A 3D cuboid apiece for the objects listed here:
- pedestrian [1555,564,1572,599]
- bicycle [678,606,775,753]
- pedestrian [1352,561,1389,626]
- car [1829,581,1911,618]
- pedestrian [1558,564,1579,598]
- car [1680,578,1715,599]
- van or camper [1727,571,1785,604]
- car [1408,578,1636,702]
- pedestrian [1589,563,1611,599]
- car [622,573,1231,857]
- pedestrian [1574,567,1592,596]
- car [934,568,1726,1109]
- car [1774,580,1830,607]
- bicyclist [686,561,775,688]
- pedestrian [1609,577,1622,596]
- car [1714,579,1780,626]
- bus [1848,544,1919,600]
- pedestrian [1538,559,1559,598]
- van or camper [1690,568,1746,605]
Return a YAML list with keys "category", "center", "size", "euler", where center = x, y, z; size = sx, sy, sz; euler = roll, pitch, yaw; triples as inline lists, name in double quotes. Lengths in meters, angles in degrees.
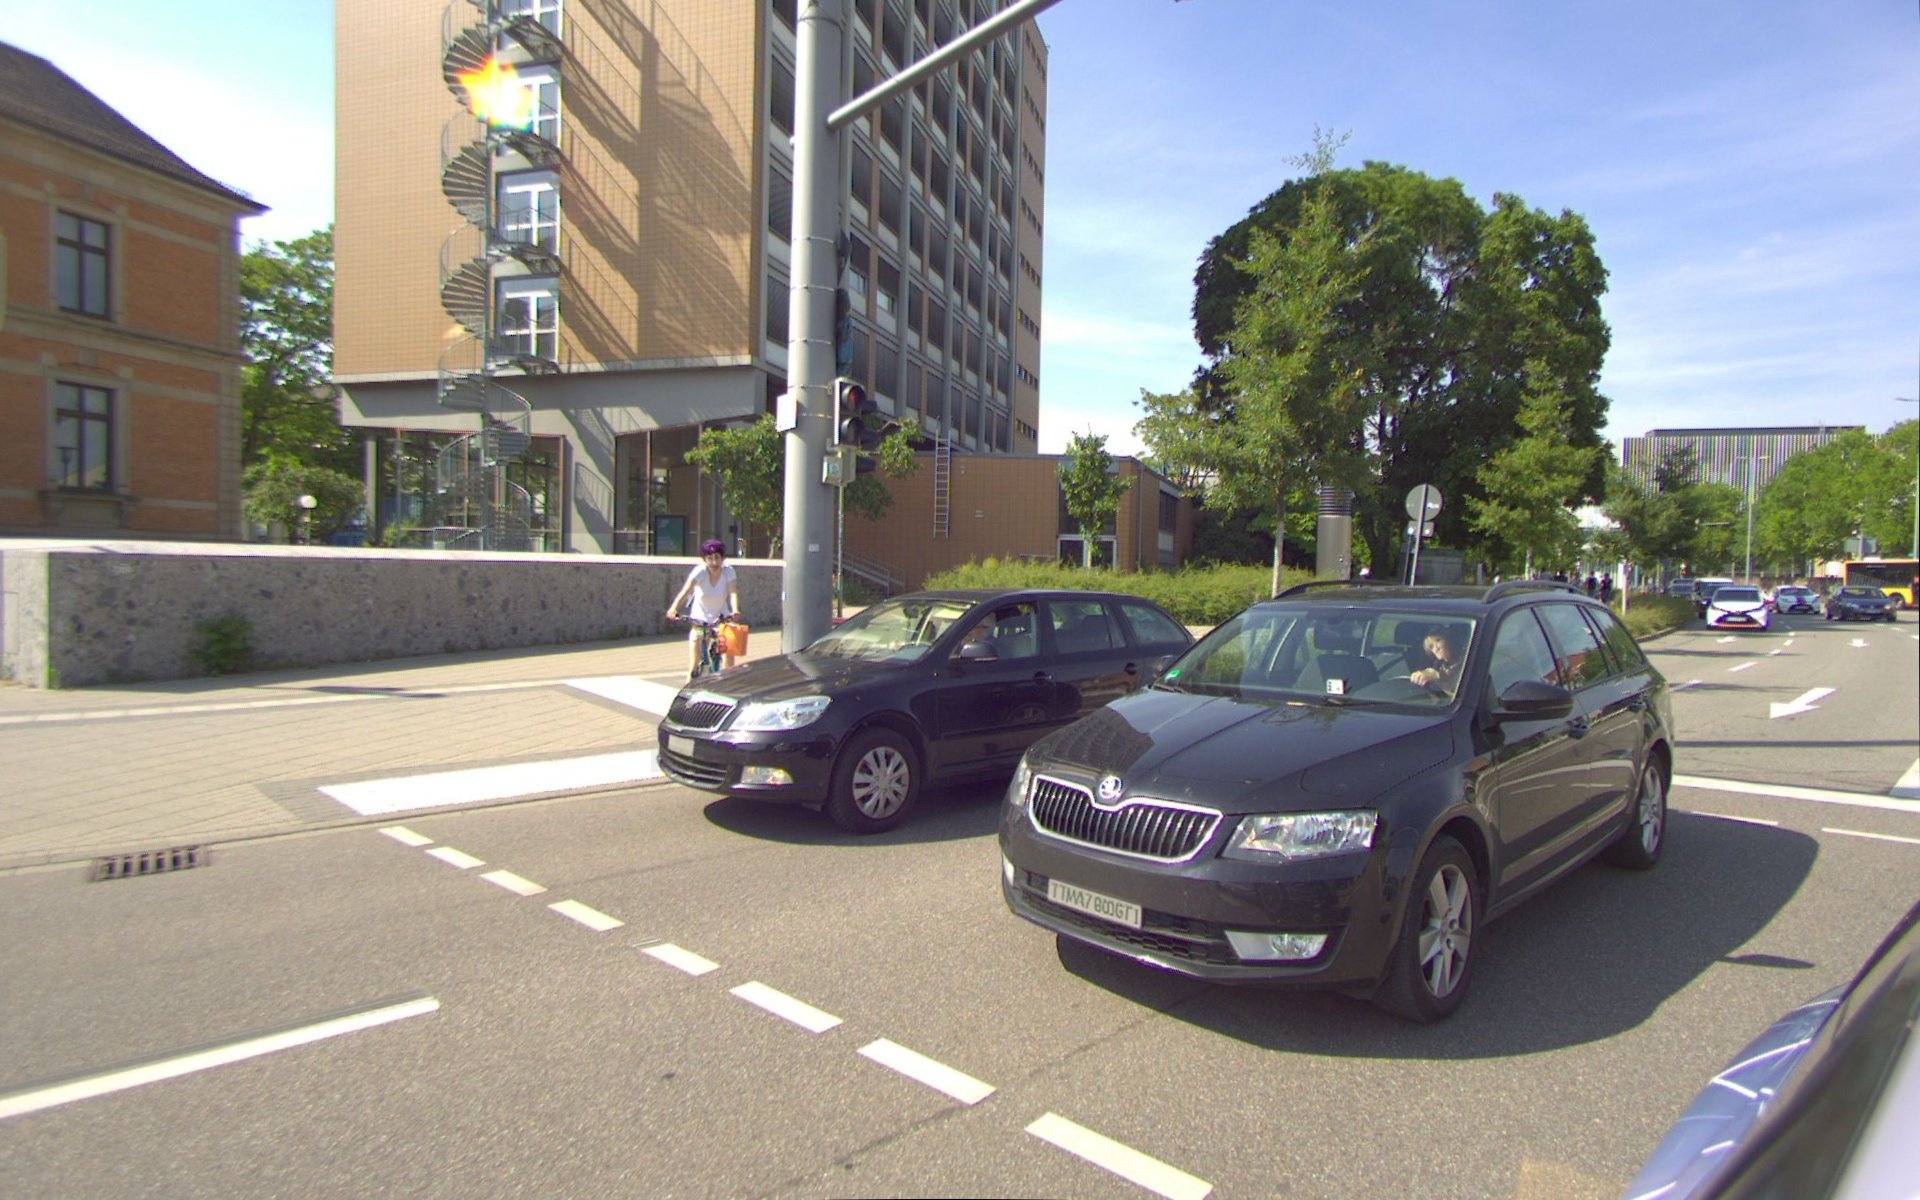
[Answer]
- category: "pedestrian"
  center: [31.070, -0.947, 52.090]
  size: [0.637, 1.785, 0.471]
  euler: [3, 3, 26]
- category: "bicycle"
  center: [-2.043, 0.646, 9.050]
  size: [0.702, 1.027, 1.923]
  euler: [1, 4, -9]
- category: "pedestrian"
  center: [10.895, -0.179, 26.868]
  size: [0.719, 1.684, 0.592]
  euler: [-1, 4, -43]
- category: "car"
  center: [38.018, -0.060, 42.382]
  size: [1.637, 1.442, 4.079]
  euler: [0, 1, 29]
- category: "pedestrian"
  center: [29.573, -0.934, 49.194]
  size: [0.719, 1.646, 0.643]
  euler: [-1, 4, -43]
- category: "car"
  center: [48.178, -0.753, 66.158]
  size: [1.479, 1.310, 3.448]
  euler: [2, 2, 31]
- category: "van or camper"
  center: [48.995, -0.820, 62.388]
  size: [1.903, 1.911, 4.876]
  euler: [2, 2, 27]
- category: "car"
  center: [8.090, 0.436, 14.368]
  size: [4.455, 1.453, 1.632]
  euler: [-2, 2, -44]
- category: "pedestrian"
  center: [30.904, -0.943, 48.877]
  size: [0.739, 1.694, 0.643]
  euler: [-1, 4, -43]
- category: "car"
  center: [-0.010, 0.564, 7.344]
  size: [4.322, 1.447, 1.703]
  euler: [-1, 2, -41]
- category: "pedestrian"
  center: [31.847, -0.940, 51.719]
  size: [0.637, 1.464, 0.564]
  euler: [3, 3, 26]
- category: "car"
  center: [2.175, 0.575, 4.907]
  size: [4.699, 1.453, 1.633]
  euler: [-2, 2, -42]
- category: "car"
  center: [42.790, -0.361, 51.509]
  size: [1.477, 1.310, 3.452]
  euler: [0, 1, 28]
- category: "bicyclist"
  center: [-2.044, 0.195, 9.092]
  size: [0.702, 1.041, 0.919]
  euler: [1, 4, -9]
- category: "pedestrian"
  center: [41.194, -0.866, 63.611]
  size: [0.639, 1.145, 0.744]
  euler: [3, 3, 31]
- category: "car"
  center: [26.488, 0.053, 34.112]
  size: [1.673, 1.493, 3.710]
  euler: [0, 1, 37]
- category: "bus"
  center: [54.426, -1.463, 54.264]
  size: [2.743, 3.076, 12.153]
  euler: [1, 2, -1]
- category: "pedestrian"
  center: [28.999, -1.056, 49.875]
  size: [0.719, 1.859, 0.643]
  euler: [-1, 4, -43]
- category: "van or camper"
  center: [40.826, -0.742, 54.619]
  size: [1.715, 1.911, 4.873]
  euler: [0, 1, 29]
